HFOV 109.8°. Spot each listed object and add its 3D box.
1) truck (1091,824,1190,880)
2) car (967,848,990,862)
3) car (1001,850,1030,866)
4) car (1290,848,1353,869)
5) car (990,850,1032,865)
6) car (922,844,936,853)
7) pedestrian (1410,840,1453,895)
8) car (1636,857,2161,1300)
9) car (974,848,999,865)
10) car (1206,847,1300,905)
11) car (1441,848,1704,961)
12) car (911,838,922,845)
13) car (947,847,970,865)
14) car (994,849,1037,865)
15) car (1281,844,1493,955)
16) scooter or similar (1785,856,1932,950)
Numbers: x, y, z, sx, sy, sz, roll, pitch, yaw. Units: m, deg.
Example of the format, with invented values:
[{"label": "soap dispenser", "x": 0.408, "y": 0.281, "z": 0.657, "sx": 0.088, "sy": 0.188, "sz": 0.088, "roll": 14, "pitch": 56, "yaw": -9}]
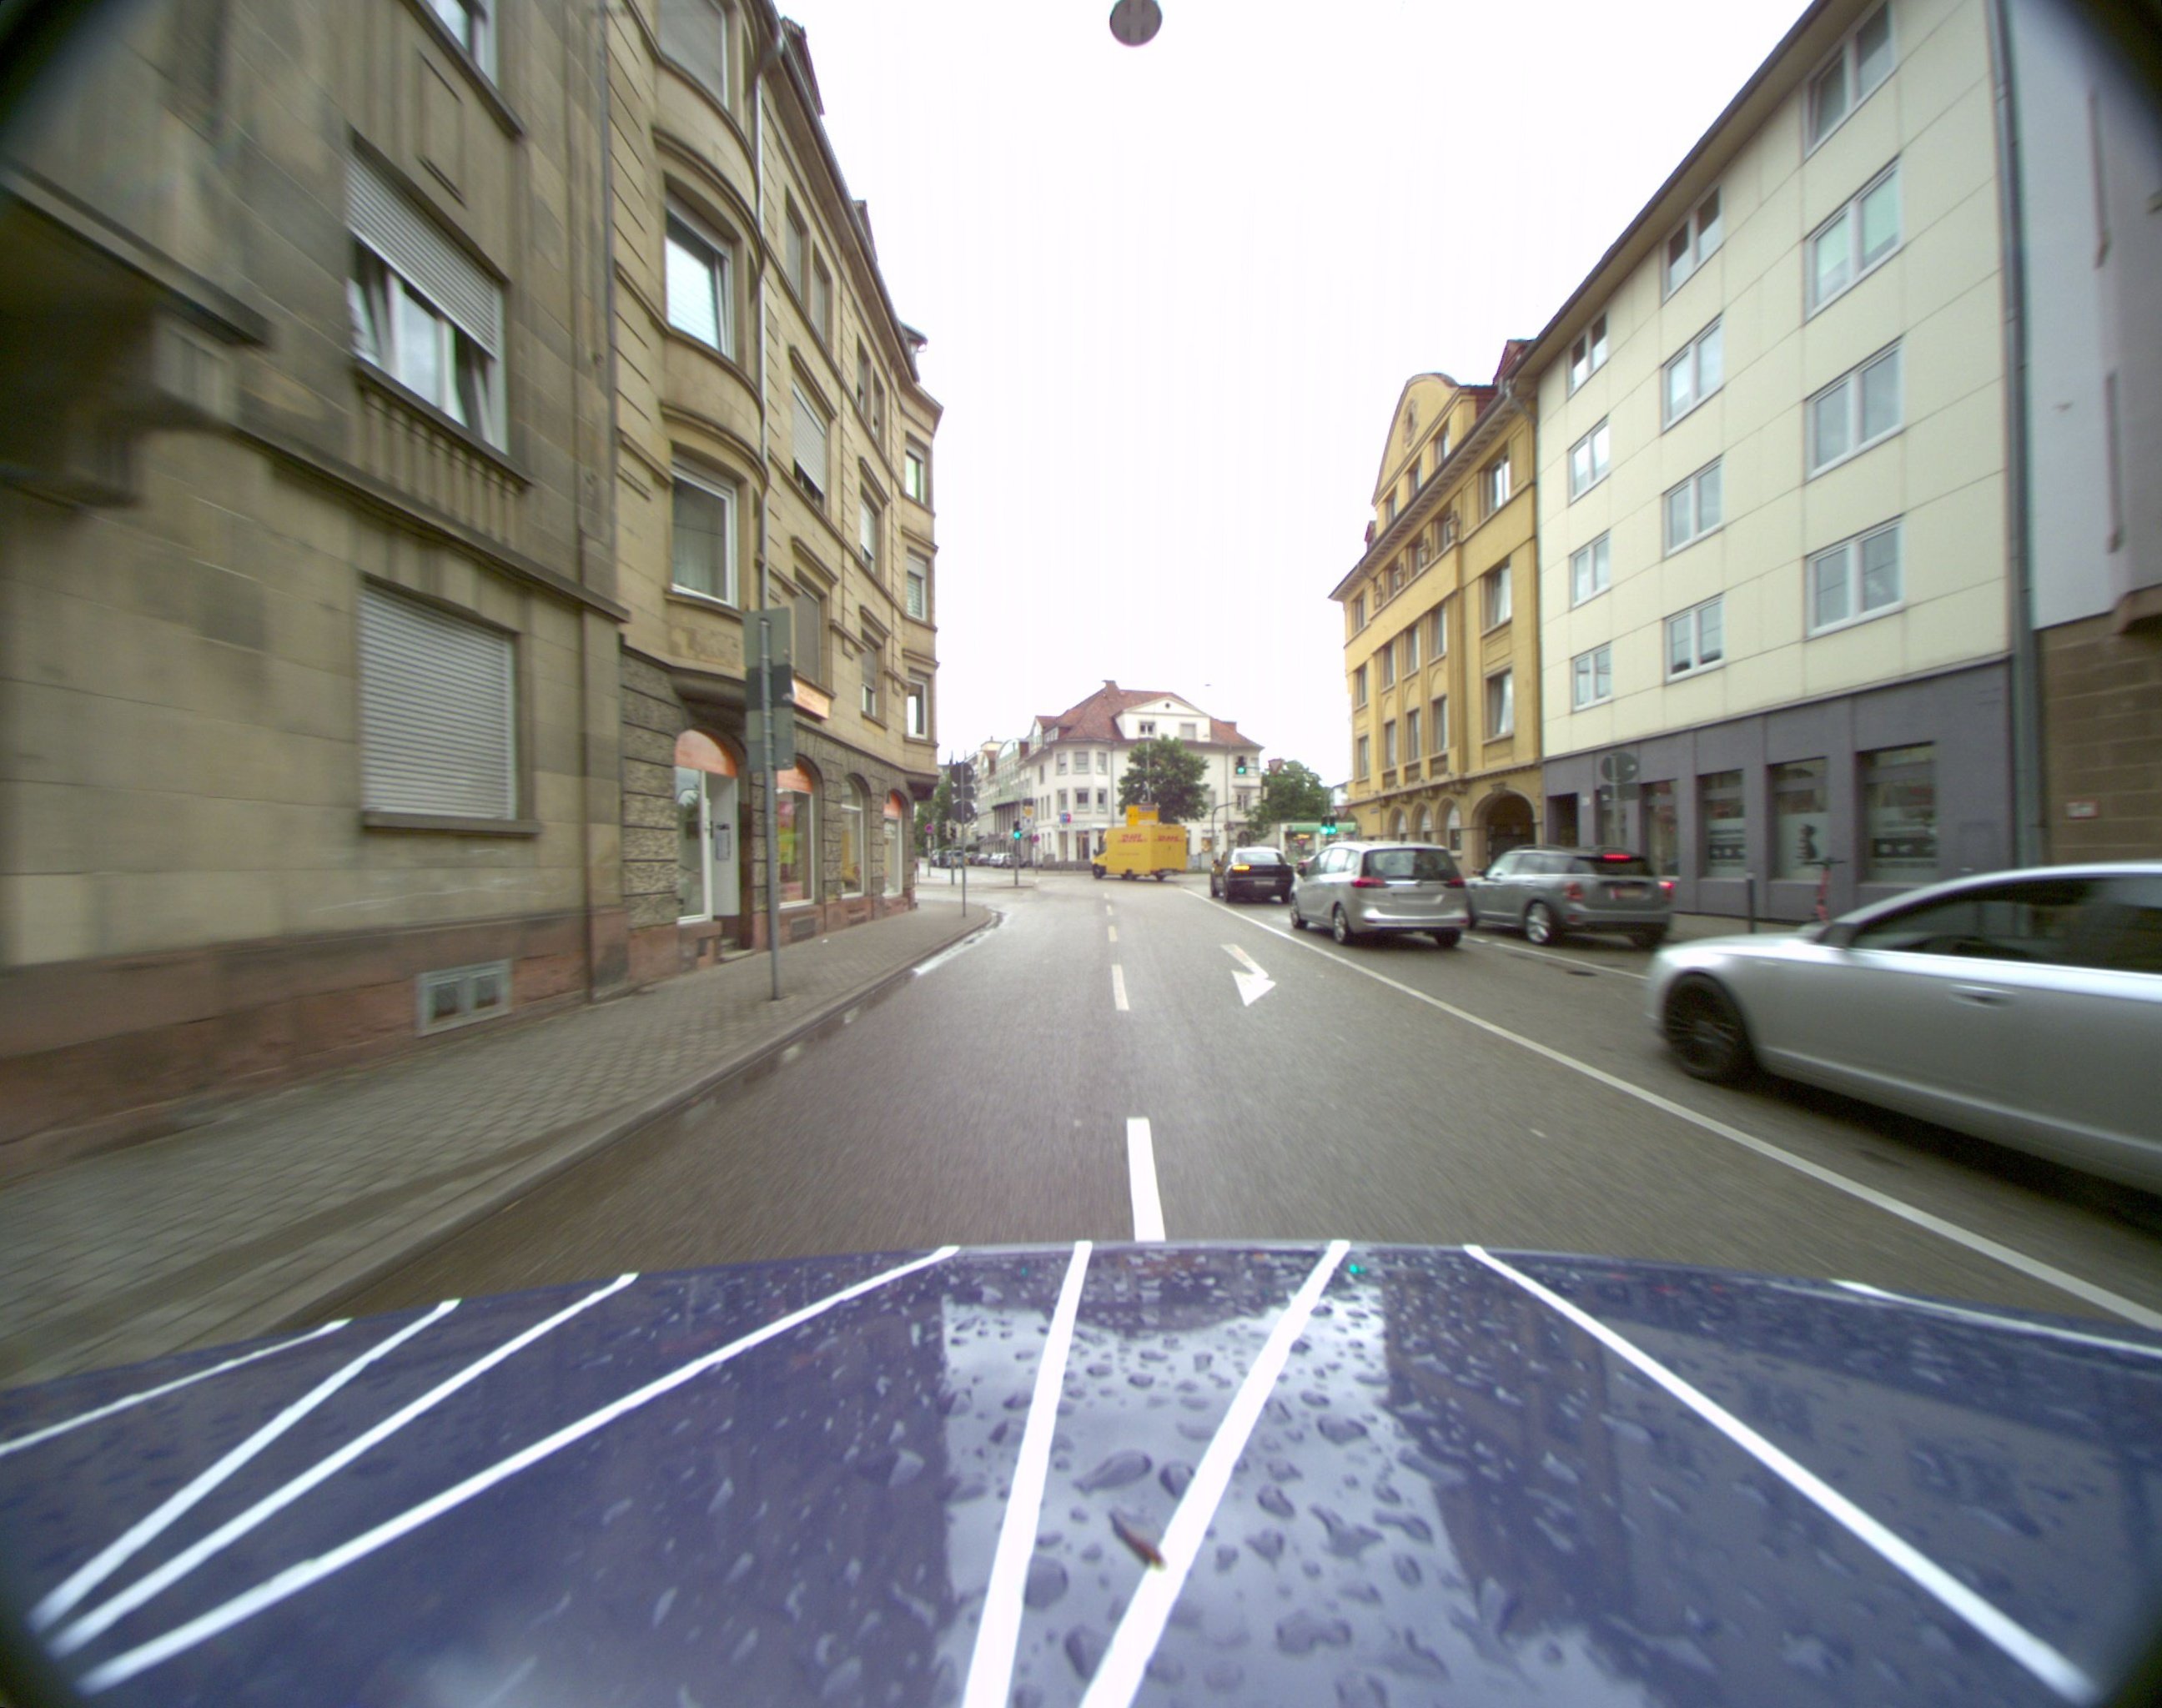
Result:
[{"label": "truck", "x": 3.016, "y": -0.142, "z": 40.873, "sx": 2.238, "sy": 2.735, "sz": 7.009, "roll": -1, "pitch": 1, "yaw": -24}, {"label": "car", "x": -12.352, "y": 0.136, "z": 91.453, "sx": 2.001, "sy": 1.576, "sz": 3.993, "roll": -1, "pitch": 1, "yaw": -17}, {"label": "car", "x": -6.437, "y": 0.385, "z": 74.005, "sx": 2.001, "sy": 1.499, "sz": 3.993, "roll": -1, "pitch": 1, "yaw": -17}, {"label": "car", "x": 17.928, "y": 0.316, "z": 56.699, "sx": 4.041, "sy": 1.509, "sz": 2.021, "roll": -1, "pitch": 1, "yaw": -17}, {"label": "car", "x": -7.415, "y": 0.387, "z": 80.292, "sx": 4.003, "sy": 1.499, "sz": 1.996, "roll": -1, "pitch": 1, "yaw": -19}, {"label": "car", "x": -27.792, "y": -0.998, "z": 138.917, "sx": 2.001, "sy": 1.576, "sz": 4.651, "roll": -1, "pitch": 1, "yaw": -17}, {"label": "pedestrian", "x": 11.888, "y": 0.442, "z": 25.809, "sx": 0.895, "sy": 1.761, "sz": 1.032, "roll": -5, "pitch": 1, "yaw": 0}, {"label": "car", "x": 4.711, "y": 0.797, "z": 2.875, "sx": 1.947, "sy": 1.462, "sz": 4.559, "roll": -1, "pitch": 1, "yaw": 1}, {"label": "car", "x": -10.762, "y": 0.268, "z": 85.953, "sx": 2.001, "sy": 1.576, "sz": 3.993, "roll": -7, "pitch": 3, "yaw": -17}, {"label": "car", "x": 5.132, "y": 0.595, "z": 23.327, "sx": 1.947, "sy": 1.574, "sz": 4.605, "roll": -1, "pitch": 1, "yaw": 1}, {"label": "car", "x": 8.108, "y": 0.721, "z": 13.141, "sx": 1.985, "sy": 1.586, "sz": 4.338, "roll": 0, "pitch": 1, "yaw": 5}, {"label": "car", "x": -36.817, "y": -2.763, "z": 170.313, "sx": 2.001, "sy": 1.576, "sz": 4.651, "roll": -1, "pitch": 1, "yaw": -17}, {"label": "car", "x": -13.713, "y": 0.240, "z": 84.700, "sx": 2.001, "sy": 1.904, "sz": 3.993, "roll": -1, "pitch": 1, "yaw": -17}, {"label": "car", "x": -6.742, "y": 0.308, "z": 77.881, "sx": 4.003, "sy": 1.499, "sz": 1.996, "roll": -1, "pitch": 1, "yaw": -19}, {"label": "car", "x": 4.973, "y": 0.630, "z": 13.146, "sx": 1.947, "sy": 1.574, "sz": 4.520, "roll": -1, "pitch": 1, "yaw": 2}, {"label": "scooter or similar", "x": 11.185, "y": 0.659, "z": 11.003, "sx": 0.462, "sy": 1.206, "sz": 1.578, "roll": -5, "pitch": 1, "yaw": 1}]
